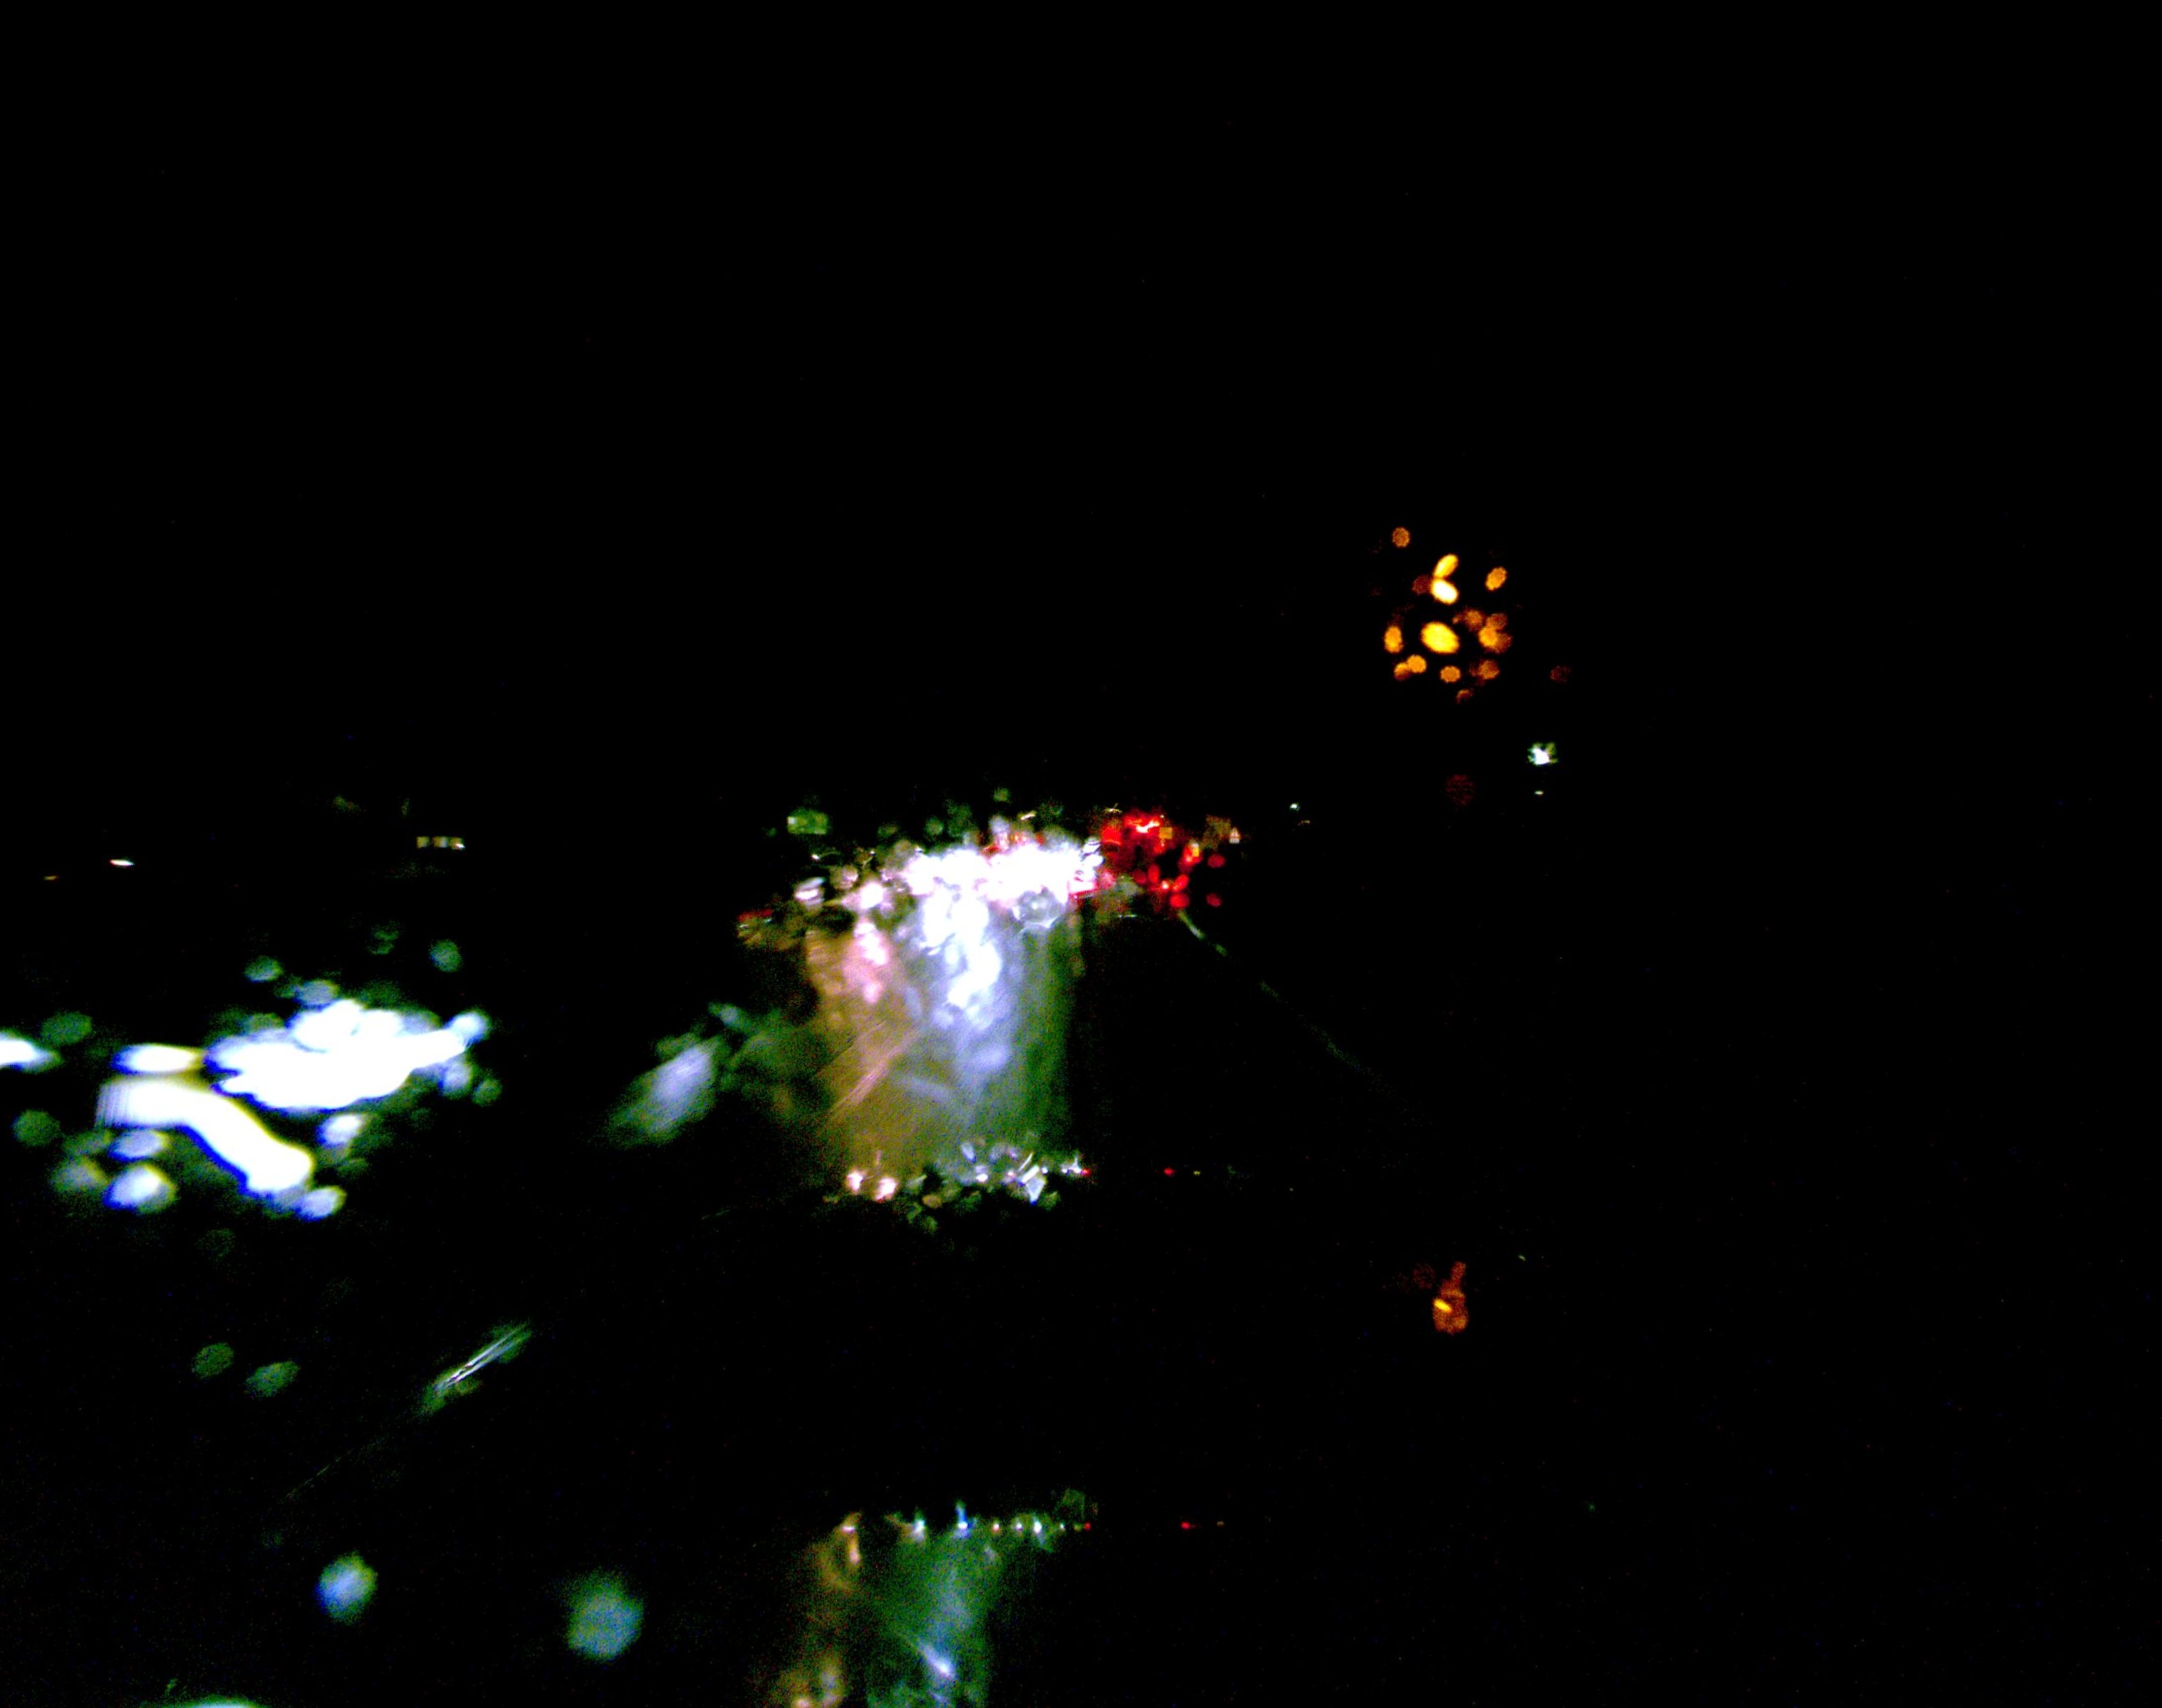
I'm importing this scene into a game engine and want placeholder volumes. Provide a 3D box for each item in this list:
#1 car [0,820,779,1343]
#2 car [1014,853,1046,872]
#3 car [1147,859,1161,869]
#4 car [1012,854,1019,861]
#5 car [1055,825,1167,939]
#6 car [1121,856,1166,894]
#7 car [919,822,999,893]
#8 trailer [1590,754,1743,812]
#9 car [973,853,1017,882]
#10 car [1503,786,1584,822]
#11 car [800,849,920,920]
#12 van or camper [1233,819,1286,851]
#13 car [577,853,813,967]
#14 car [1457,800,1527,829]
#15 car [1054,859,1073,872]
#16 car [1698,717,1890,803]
[{"bbox_3d":[-3.368,0.705,4.753,1.801,1.629,4.410,0,0,-4],"label":"car"},{"bbox_3d":[-4.042,0.678,65.599,2.069,1.449,4.994,0,0,2],"label":"car"},{"bbox_3d":[10.329,1.423,114.982,1.654,1.450,4.059,-1,-1,8],"label":"car"},{"bbox_3d":[-20.245,1.027,250.826,1.990,1.912,4.735,0,0,-5],"label":"car"},{"bbox_3d":[0.617,0.488,16.261,1.934,1.972,4.221,0,0,2],"label":"car"},{"bbox_3d":[2.648,0.829,33.822,1.759,1.450,4.225,0,0,6],"label":"car"},{"bbox_3d":[-4.990,0.134,34.316,2.114,2.707,6.245,0,0,3],"label":"car"},{"bbox_3d":[26.201,-3.107,36.784,2.225,2.072,5.703,-1,0,-9],"label":"trailer"},{"bbox_3d":[-4.717,0.705,45.128,1.871,1.537,3.990,0,0,2],"label":"car"},{"bbox_3d":[24.867,-2.670,43.971,1.613,1.640,3.985,0,-1,-11],"label":"car"},{"bbox_3d":[-5.448,0.690,20.641,1.713,1.588,4.314,0,0,2],"label":"car"},{"bbox_3d":[17.519,-1.843,80.419,2.583,2.908,6.330,-1,0,-13],"label":"van or camper"},{"bbox_3d":[-5.759,0.748,12.726,1.713,1.507,3.830,0,0,2],"label":"car"},{"bbox_3d":[24.241,-2.301,48.143,1.613,1.472,3.985,0,-1,-11],"label":"car"},{"bbox_3d":[-1.922,1.271,90.990,1.911,1.444,4.547,0,0,1],"label":"car"},{"bbox_3d":[27.047,-3.454,31.243,2.113,2.635,5.434,-1,-1,-9],"label":"car"}]
